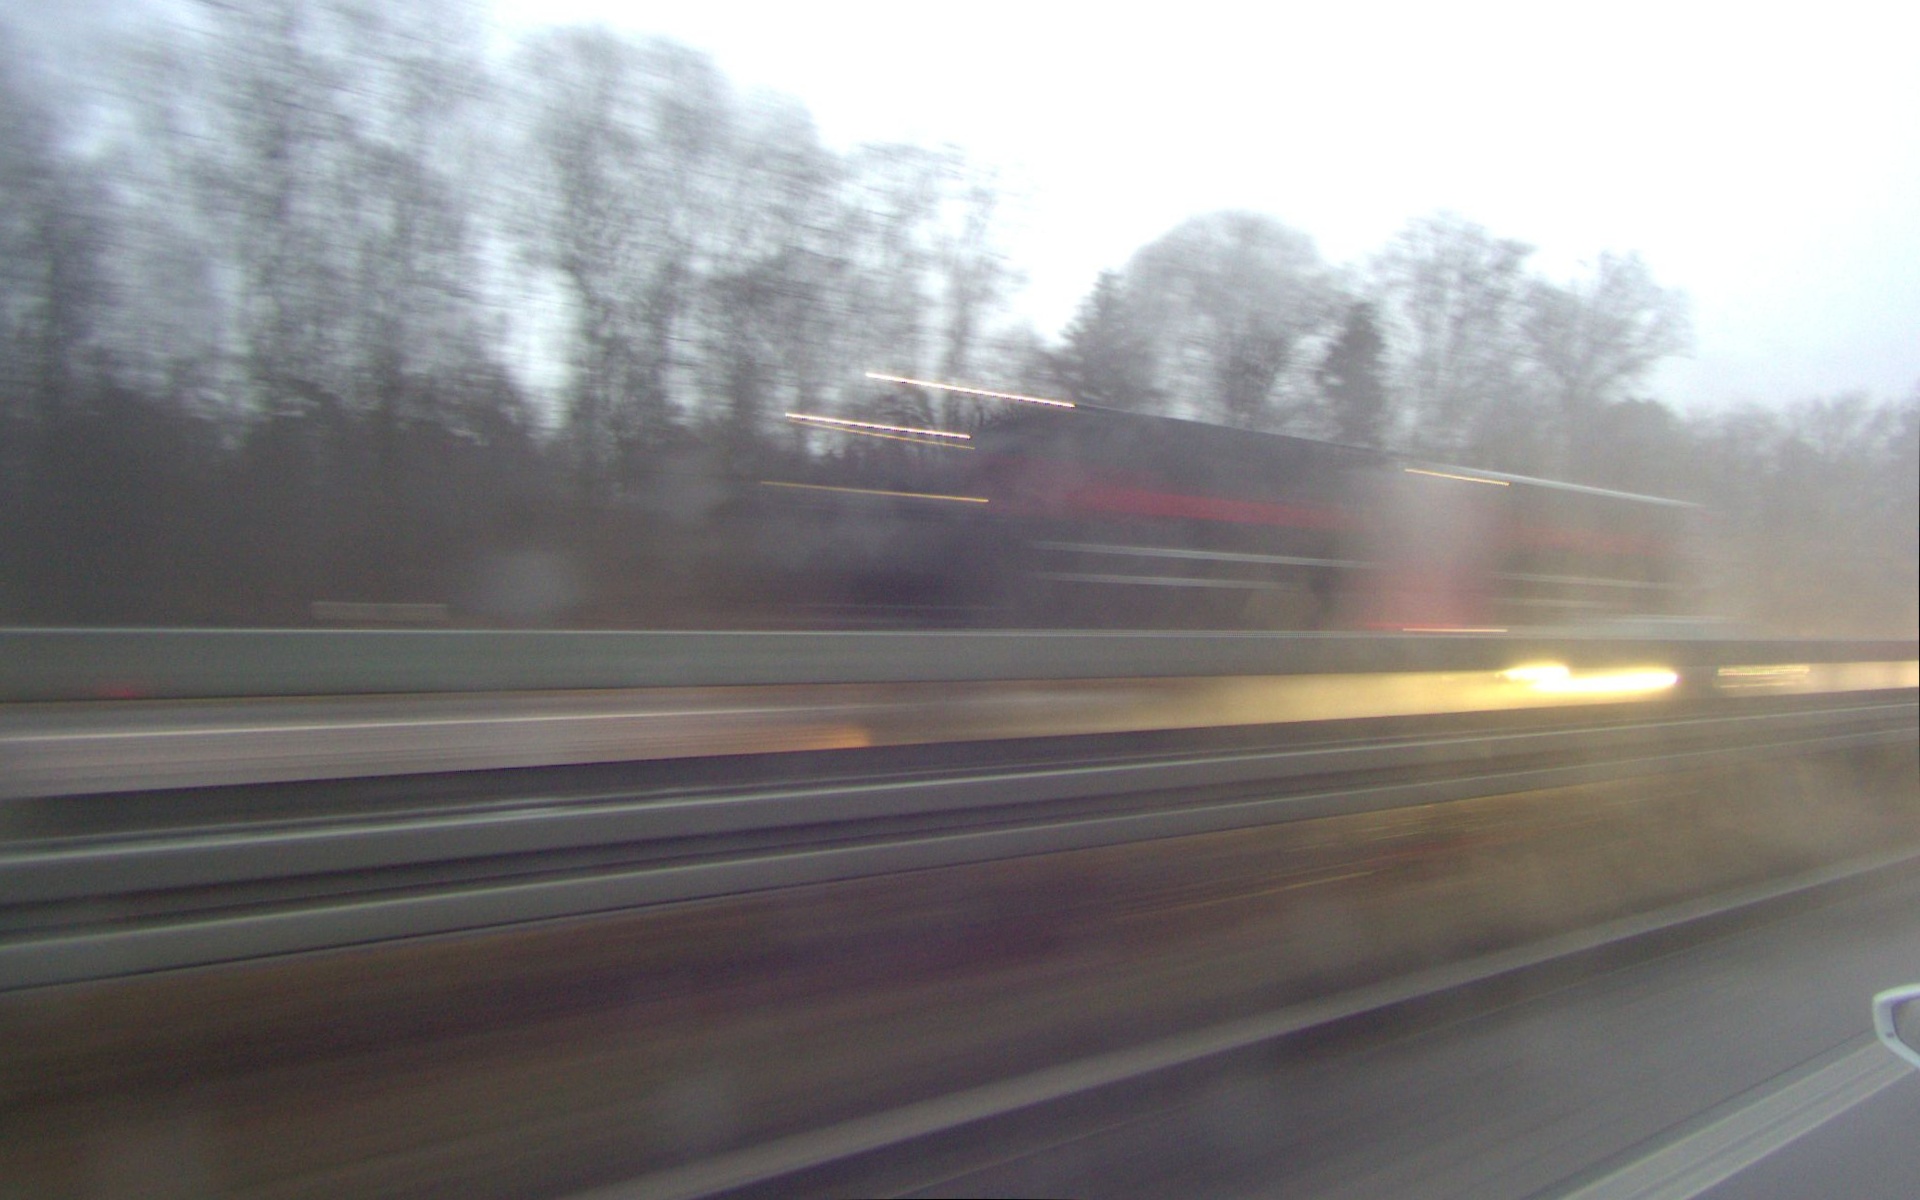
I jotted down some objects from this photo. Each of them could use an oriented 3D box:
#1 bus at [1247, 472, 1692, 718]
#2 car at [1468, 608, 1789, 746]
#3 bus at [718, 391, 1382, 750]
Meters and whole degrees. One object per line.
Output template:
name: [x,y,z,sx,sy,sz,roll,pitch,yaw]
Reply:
bus: [9.475,0.034,18.194,9.048,3.602,2.725,2,0,-31]
car: [8.855,0.937,13.255,4.218,1.555,1.791,2,0,-29]
bus: [1.580,-0.193,13.536,8.982,3.602,2.713,2,0,-31]
